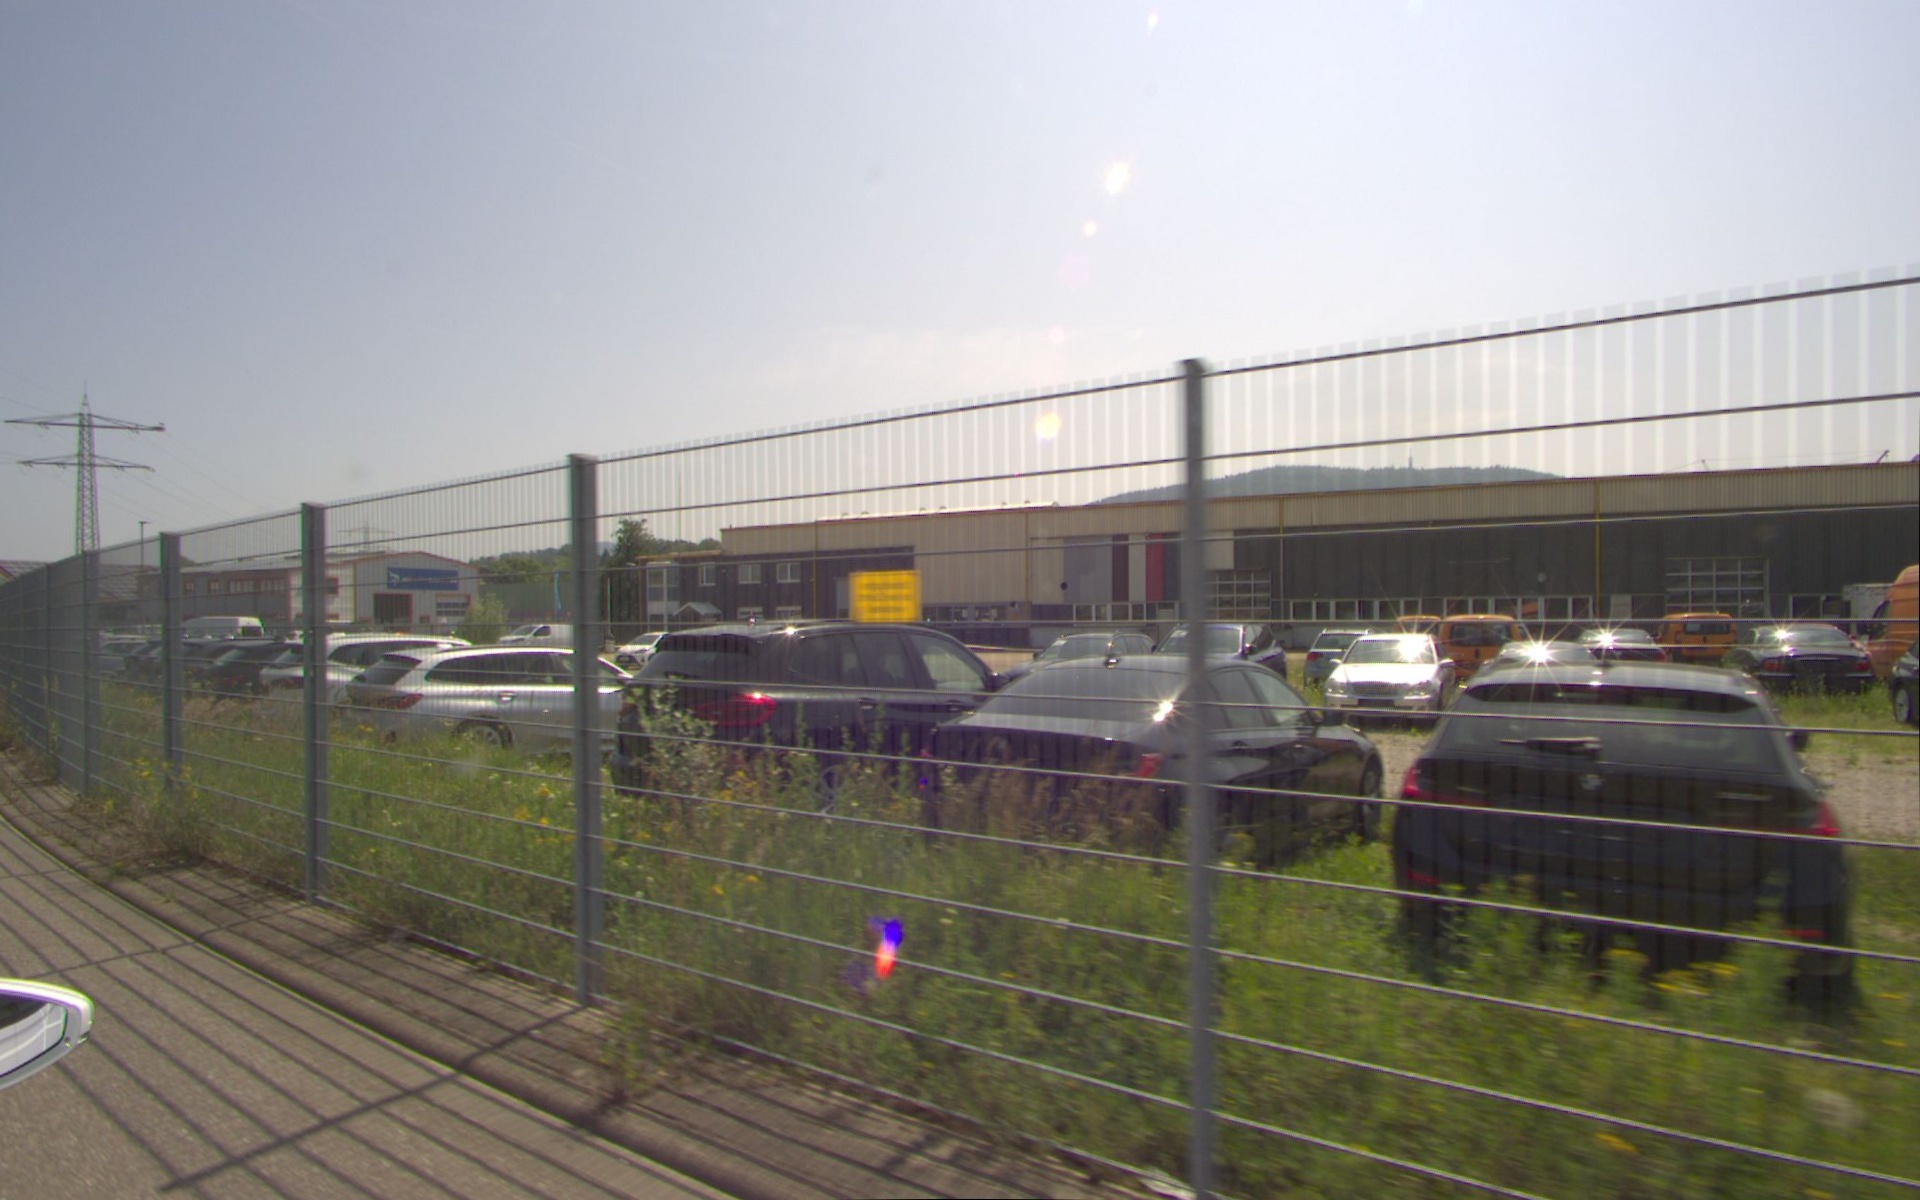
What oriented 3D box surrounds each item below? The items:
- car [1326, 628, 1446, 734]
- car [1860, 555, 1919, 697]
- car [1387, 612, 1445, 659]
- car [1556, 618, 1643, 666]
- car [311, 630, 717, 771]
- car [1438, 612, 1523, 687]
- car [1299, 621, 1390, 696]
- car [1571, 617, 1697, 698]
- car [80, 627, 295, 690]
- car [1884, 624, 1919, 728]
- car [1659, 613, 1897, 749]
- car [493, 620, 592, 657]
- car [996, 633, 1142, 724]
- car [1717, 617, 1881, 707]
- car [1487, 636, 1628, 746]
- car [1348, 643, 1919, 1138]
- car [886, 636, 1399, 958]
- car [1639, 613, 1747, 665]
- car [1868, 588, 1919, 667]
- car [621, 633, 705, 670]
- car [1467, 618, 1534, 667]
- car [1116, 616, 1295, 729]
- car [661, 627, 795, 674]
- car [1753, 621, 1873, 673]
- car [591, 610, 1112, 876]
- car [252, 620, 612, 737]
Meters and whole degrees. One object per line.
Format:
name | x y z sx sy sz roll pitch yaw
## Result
car | 7.184 1.248 16.716 1.586 1.456 3.759 0 0 27
car | 18.956 0.486 18.731 1.949 2.619 4.728 0 0 27
car | 16.117 1.214 35.427 1.724 1.505 4.376 0 0 24
car | 21.248 1.346 33.434 1.968 1.483 3.986 -1 -1 26
car | -5.287 1.164 12.344 1.817 1.423 4.194 -1 -4 40
car | 11.629 1.042 22.447 1.564 1.481 3.815 0 0 27
car | 8.878 1.272 22.950 1.564 1.481 3.815 0 0 27
car | 14.044 1.118 21.075 1.728 1.481 3.815 0 0 27
car | -19.950 1.536 26.014 1.618 1.492 4.149 -1 -4 39
car | 13.998 1.091 13.079 1.636 1.451 4.558 0 0 27
car | 12.000 1.121 15.018 1.970 1.739 3.984 -3 -2 29
car | -22.822 2.071 54.955 1.829 1.924 5.057 -1 -1 28
car | 2.209 1.427 19.374 1.586 1.456 3.759 0 0 27
car | 15.927 1.094 19.205 1.564 1.481 3.815 0 0 27
car | 8.997 1.279 15.316 1.586 1.319 3.759 0 0 27
car | 3.507 1.026 5.491 1.740 1.396 4.330 0 0 33
car | 1.563 1.029 7.029 1.743 1.396 4.263 0 0 39
car | 23.396 1.193 32.142 1.941 1.505 4.376 0 0 24
car | 28.266 0.767 28.790 1.941 2.200 4.376 0 0 24
car | -12.825 2.198 43.431 1.510 1.454 3.656 -1 -1 24
car | 18.385 1.394 34.211 1.724 1.505 4.376 0 0 24
car | 4.494 1.154 17.816 1.850 1.671 4.453 0 0 31
car | -7.309 1.573 32.015 1.601 1.368 4.506 -1 -1 28
car | 26.212 1.394 30.938 1.813 1.396 4.373 0 0 27
car | -0.693 0.932 8.492 4.253 1.659 1.747 0 0 -45
car | -7.378 1.096 14.273 4.185 1.423 1.821 5 -4 -44
